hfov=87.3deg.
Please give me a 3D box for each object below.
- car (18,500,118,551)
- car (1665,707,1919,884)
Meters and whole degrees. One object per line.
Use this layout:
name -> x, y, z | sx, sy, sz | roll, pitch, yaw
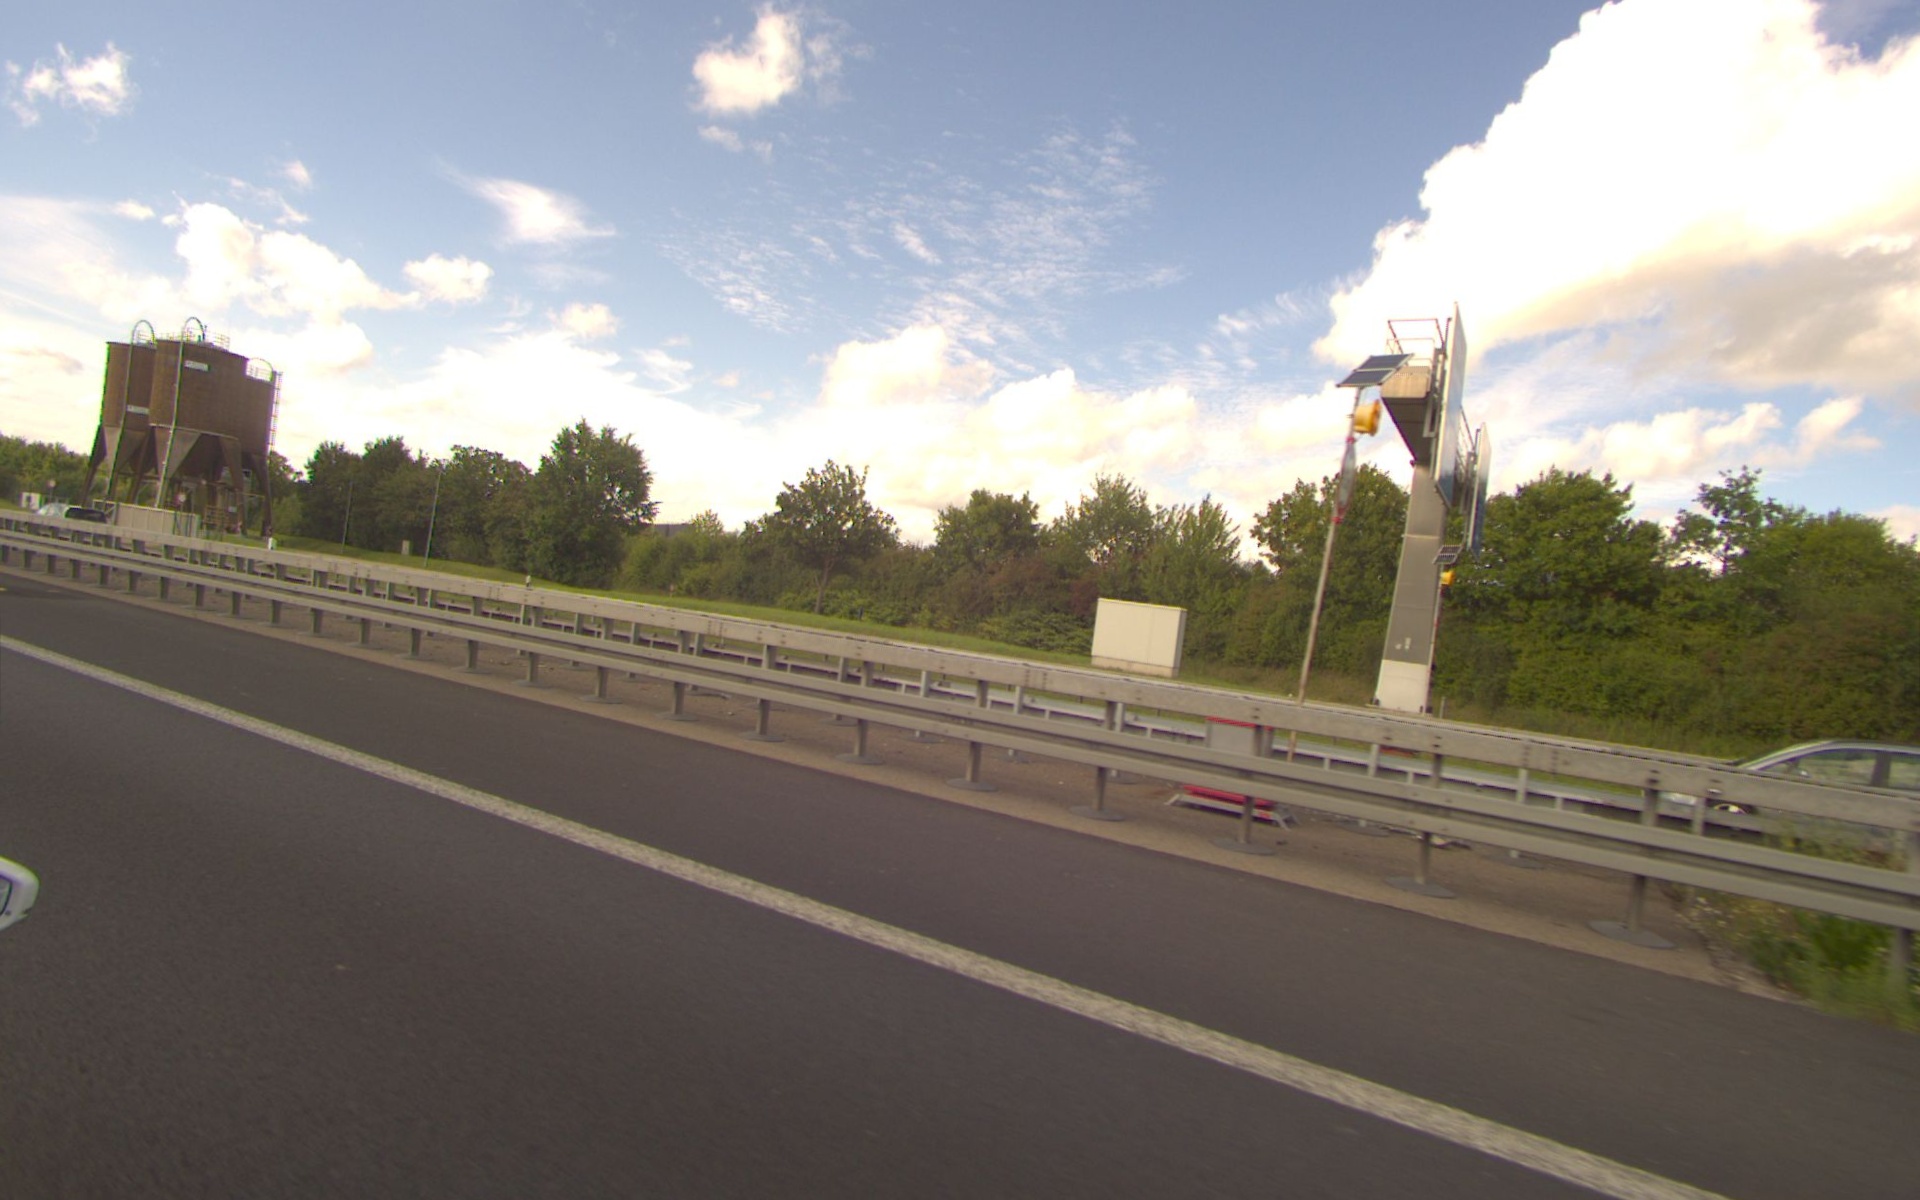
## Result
car -> -37.784, -3.157, 42.604 | 3.933, 1.739, 1.995 | 7, 1, 31
car -> 11.954, 2.624, 13.363 | 3.933, 1.730, 1.995 | 7, 1, 31
